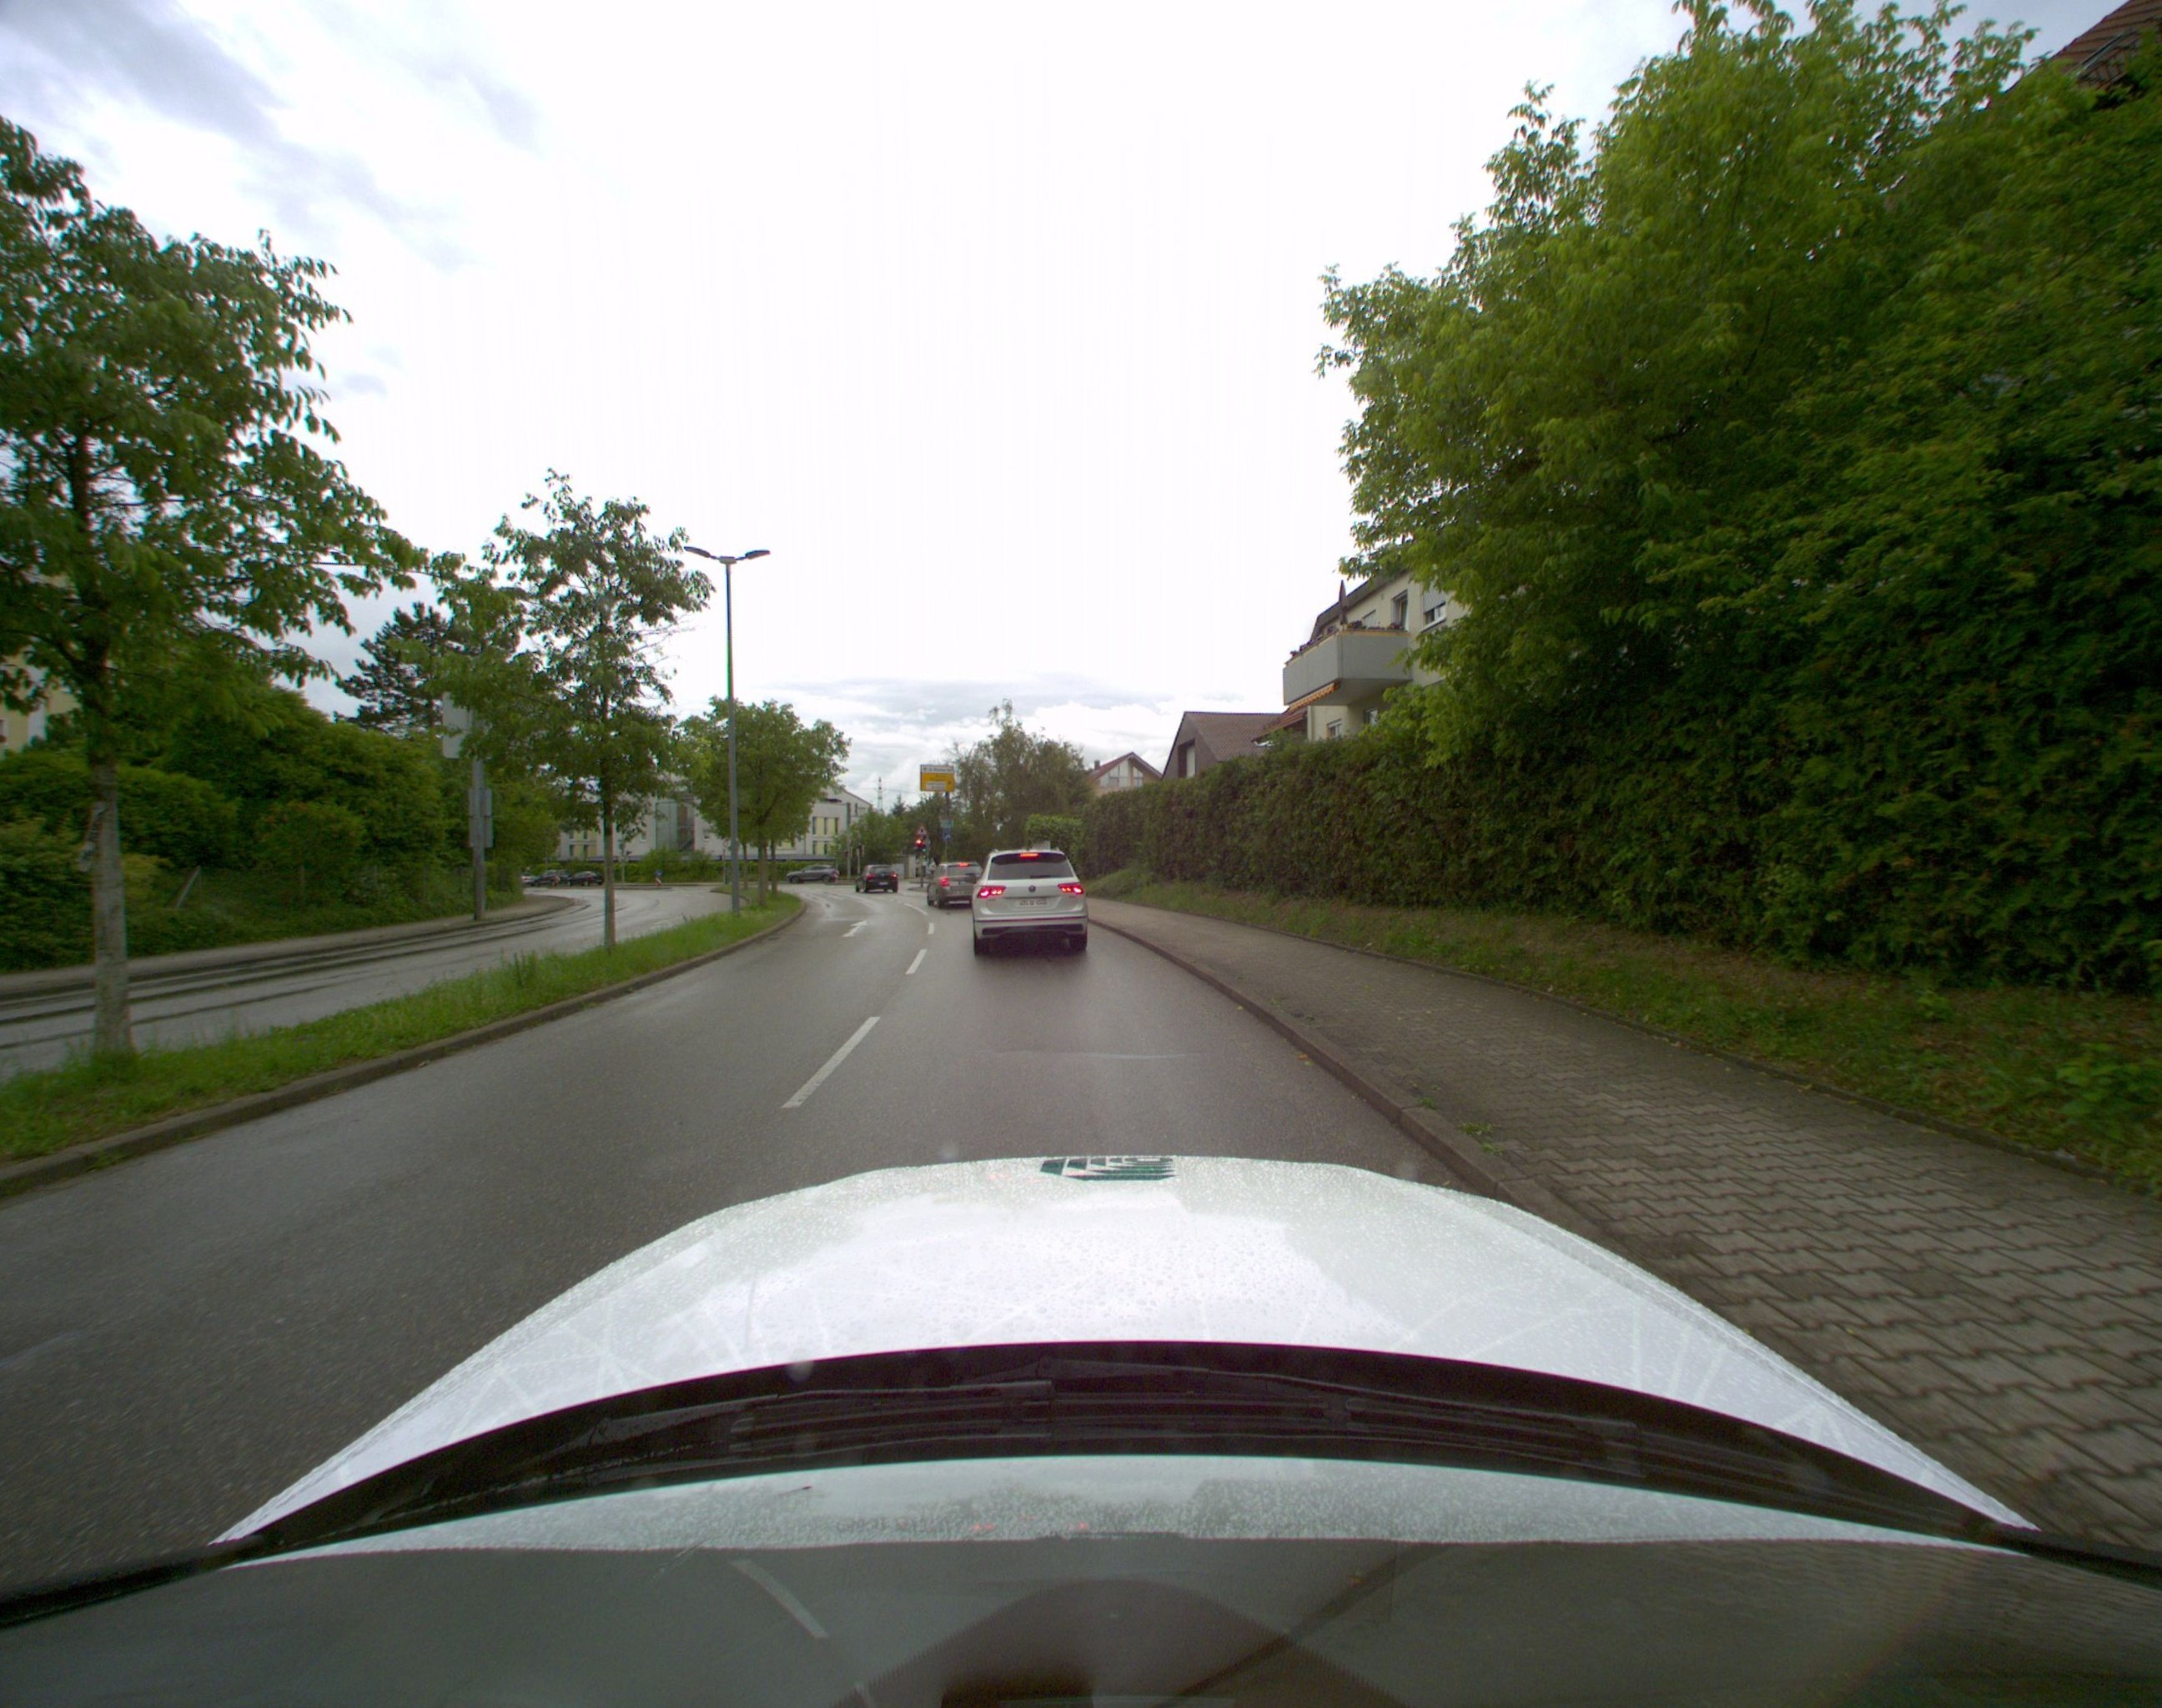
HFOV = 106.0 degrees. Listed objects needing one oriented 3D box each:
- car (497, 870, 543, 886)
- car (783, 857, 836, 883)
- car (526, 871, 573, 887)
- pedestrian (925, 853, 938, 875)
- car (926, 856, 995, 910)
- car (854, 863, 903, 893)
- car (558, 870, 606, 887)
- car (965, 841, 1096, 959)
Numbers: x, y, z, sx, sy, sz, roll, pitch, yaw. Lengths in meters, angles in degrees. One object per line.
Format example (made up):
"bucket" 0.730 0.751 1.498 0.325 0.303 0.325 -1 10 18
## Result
"car" -58.156 2.477 84.397 3.953 1.555 2.010 2 0 21
"car" -23.624 1.364 70.983 3.979 2.013 1.979 2 1 -4
"car" -54.044 2.554 82.794 3.953 1.556 2.010 -1 -1 21
"pedestrian" -14.026 0.912 76.382 0.804 2.013 0.841 -5 4 -30
"car" -4.092 0.925 27.166 1.768 1.509 3.980 1 1 -15
"car" -10.974 1.260 43.961 1.859 1.429 3.969 -2 0 -23
"car" -49.790 2.482 81.226 3.953 1.555 2.011 -1 1 21
"car" -0.896 0.674 14.239 1.917 1.722 4.258 -1 0 -4
